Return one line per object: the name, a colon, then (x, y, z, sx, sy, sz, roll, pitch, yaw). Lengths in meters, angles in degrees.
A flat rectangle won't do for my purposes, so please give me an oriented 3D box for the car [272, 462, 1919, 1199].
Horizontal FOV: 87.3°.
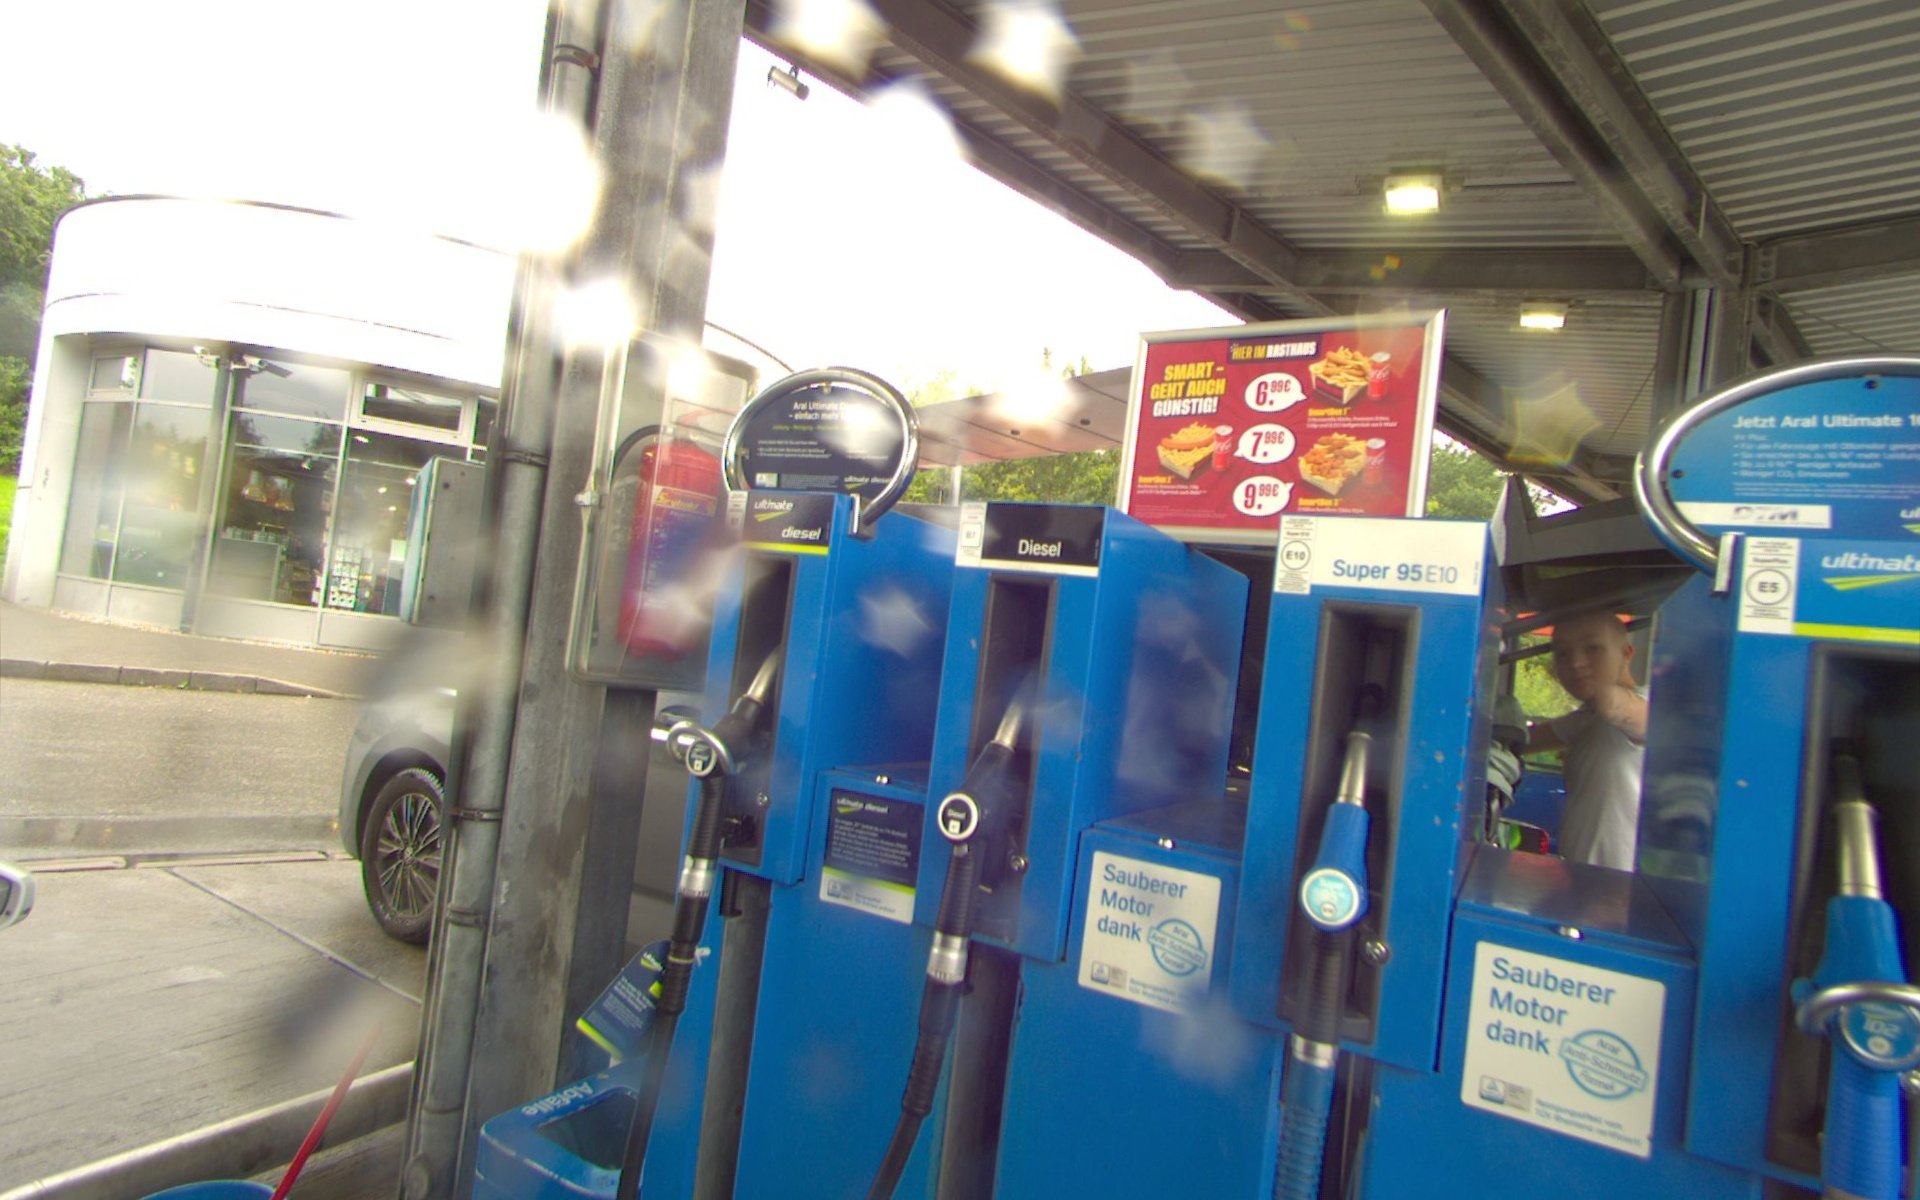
car: (-0.156, 0.646, 3.679, 5.055, 1.819, 1.865, 6, -2, 32)
